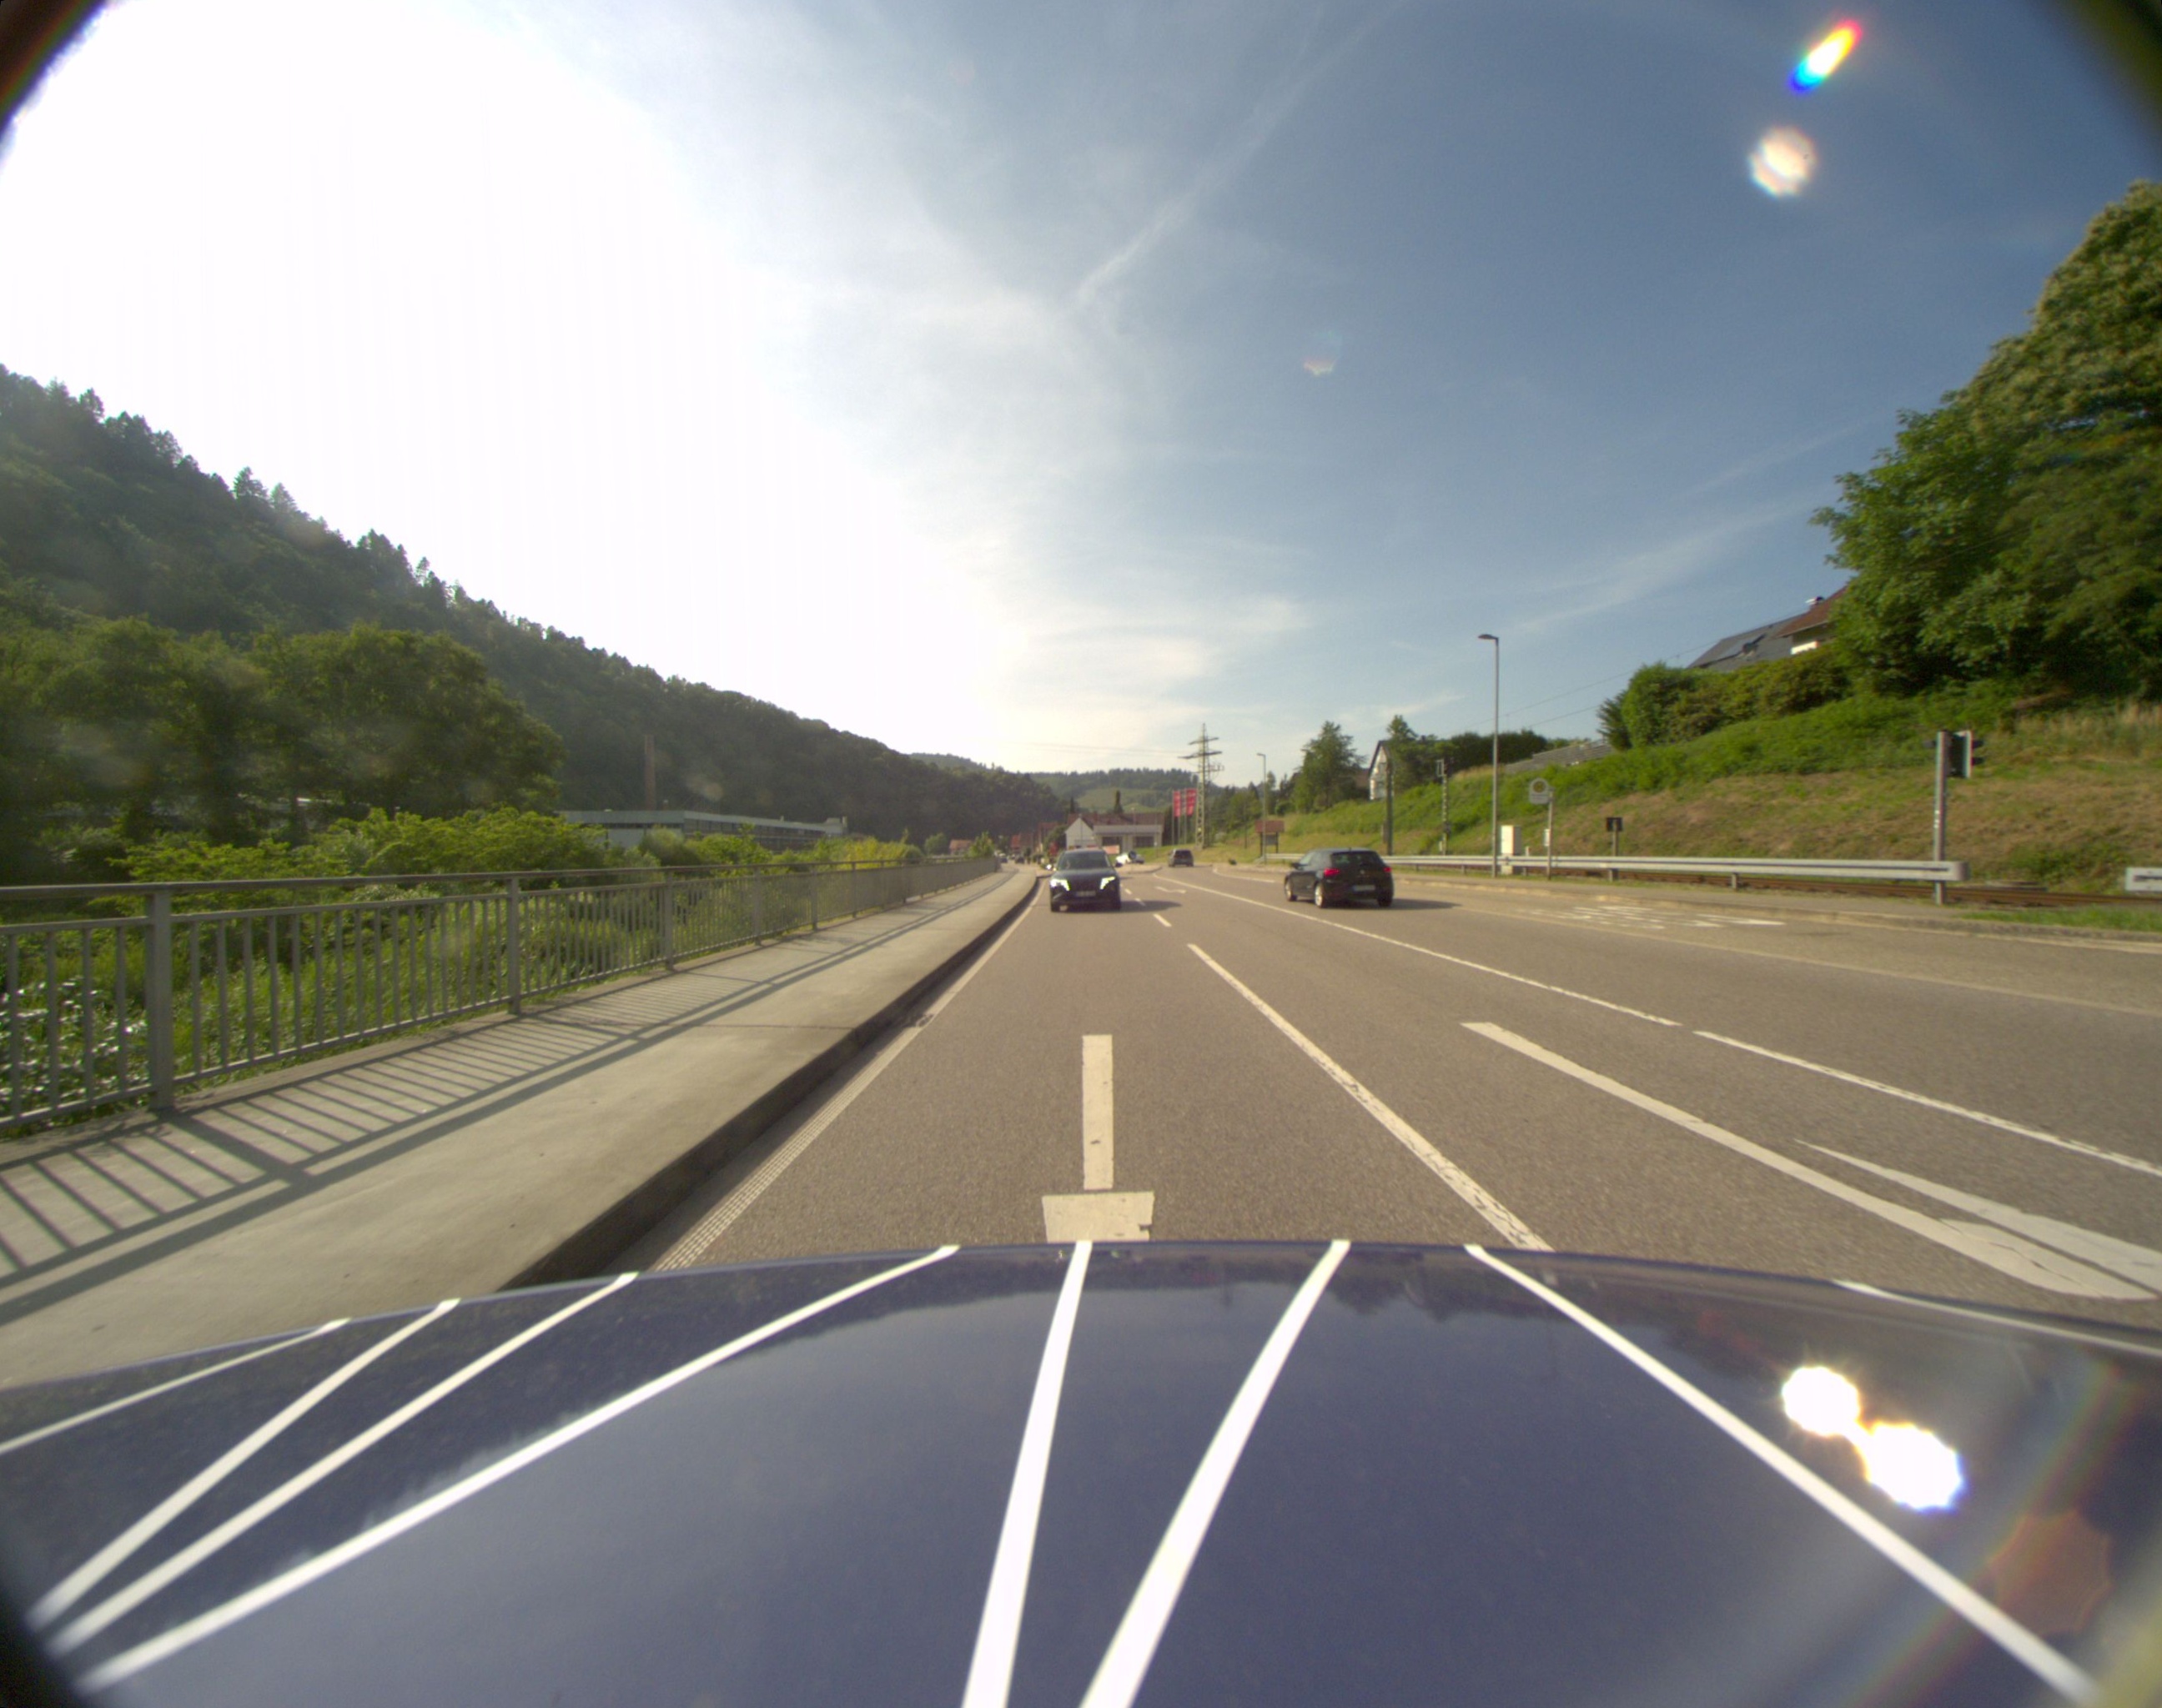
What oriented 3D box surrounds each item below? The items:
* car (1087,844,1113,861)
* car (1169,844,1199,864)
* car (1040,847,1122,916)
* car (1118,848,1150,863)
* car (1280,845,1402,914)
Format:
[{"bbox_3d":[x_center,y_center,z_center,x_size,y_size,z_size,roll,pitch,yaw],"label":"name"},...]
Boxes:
[{"bbox_3d":[2.294,-0.174,93.163,2.001,2.002,3.993,-3,1,-18],"label":"car"},{"bbox_3d":[8.516,-0.001,63.175,1.998,1.521,3.999,-3,1,1],"label":"car"},{"bbox_3d":[0.071,0.686,22.160,1.998,1.661,5.510,-3,0,1],"label":"car"},{"bbox_3d":[5.658,0.113,81.256,2.001,1.434,3.994,-3,1,-18],"label":"car"},{"bbox_3d":[6.400,0.558,19.183,1.691,1.477,3.999,-2,1,0],"label":"car"}]
